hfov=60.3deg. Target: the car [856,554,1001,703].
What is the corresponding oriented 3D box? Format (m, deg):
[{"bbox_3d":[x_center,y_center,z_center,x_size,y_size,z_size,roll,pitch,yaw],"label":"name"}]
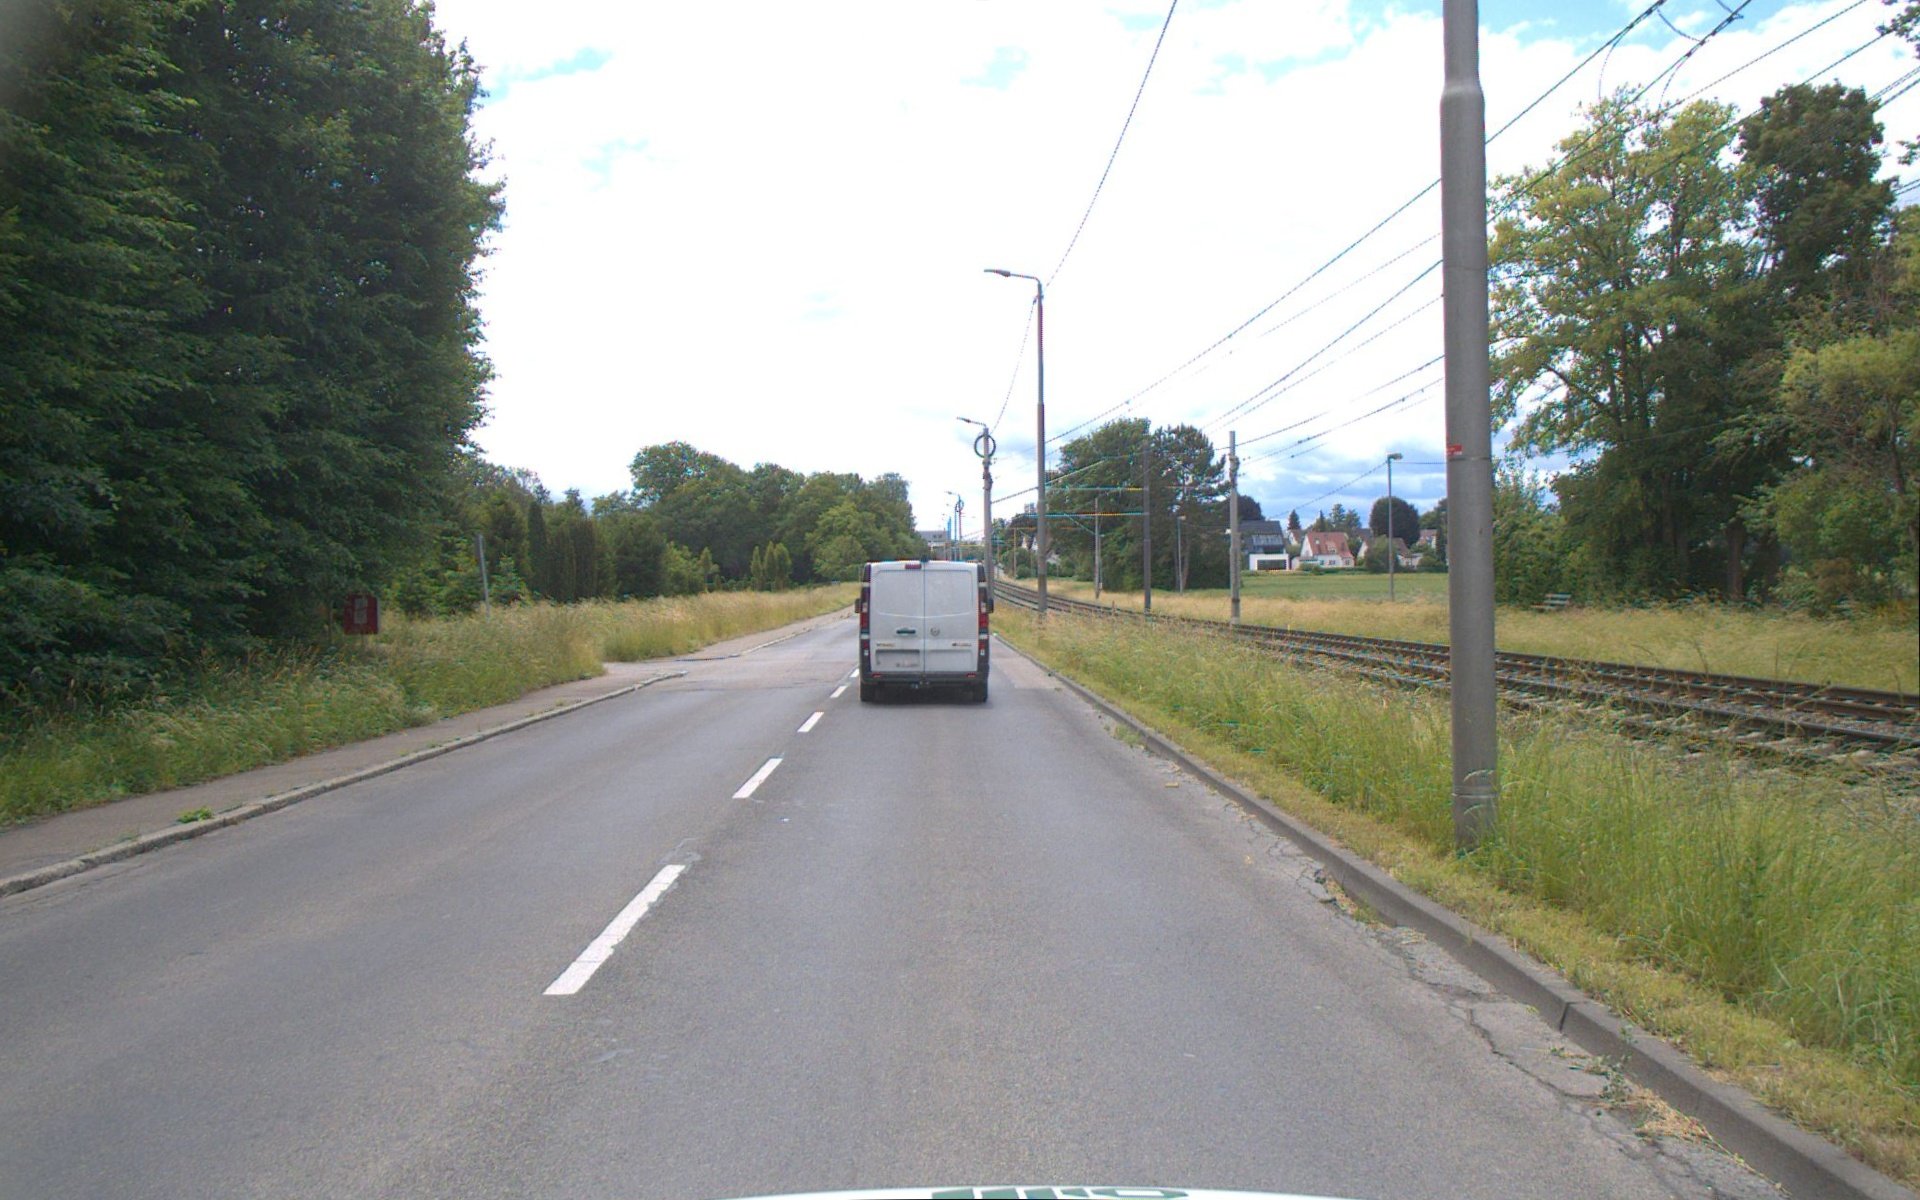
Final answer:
[{"bbox_3d":[-0.501,0.364,24.425,1.953,1.991,3.998,-1,1,-2],"label":"car"}]
